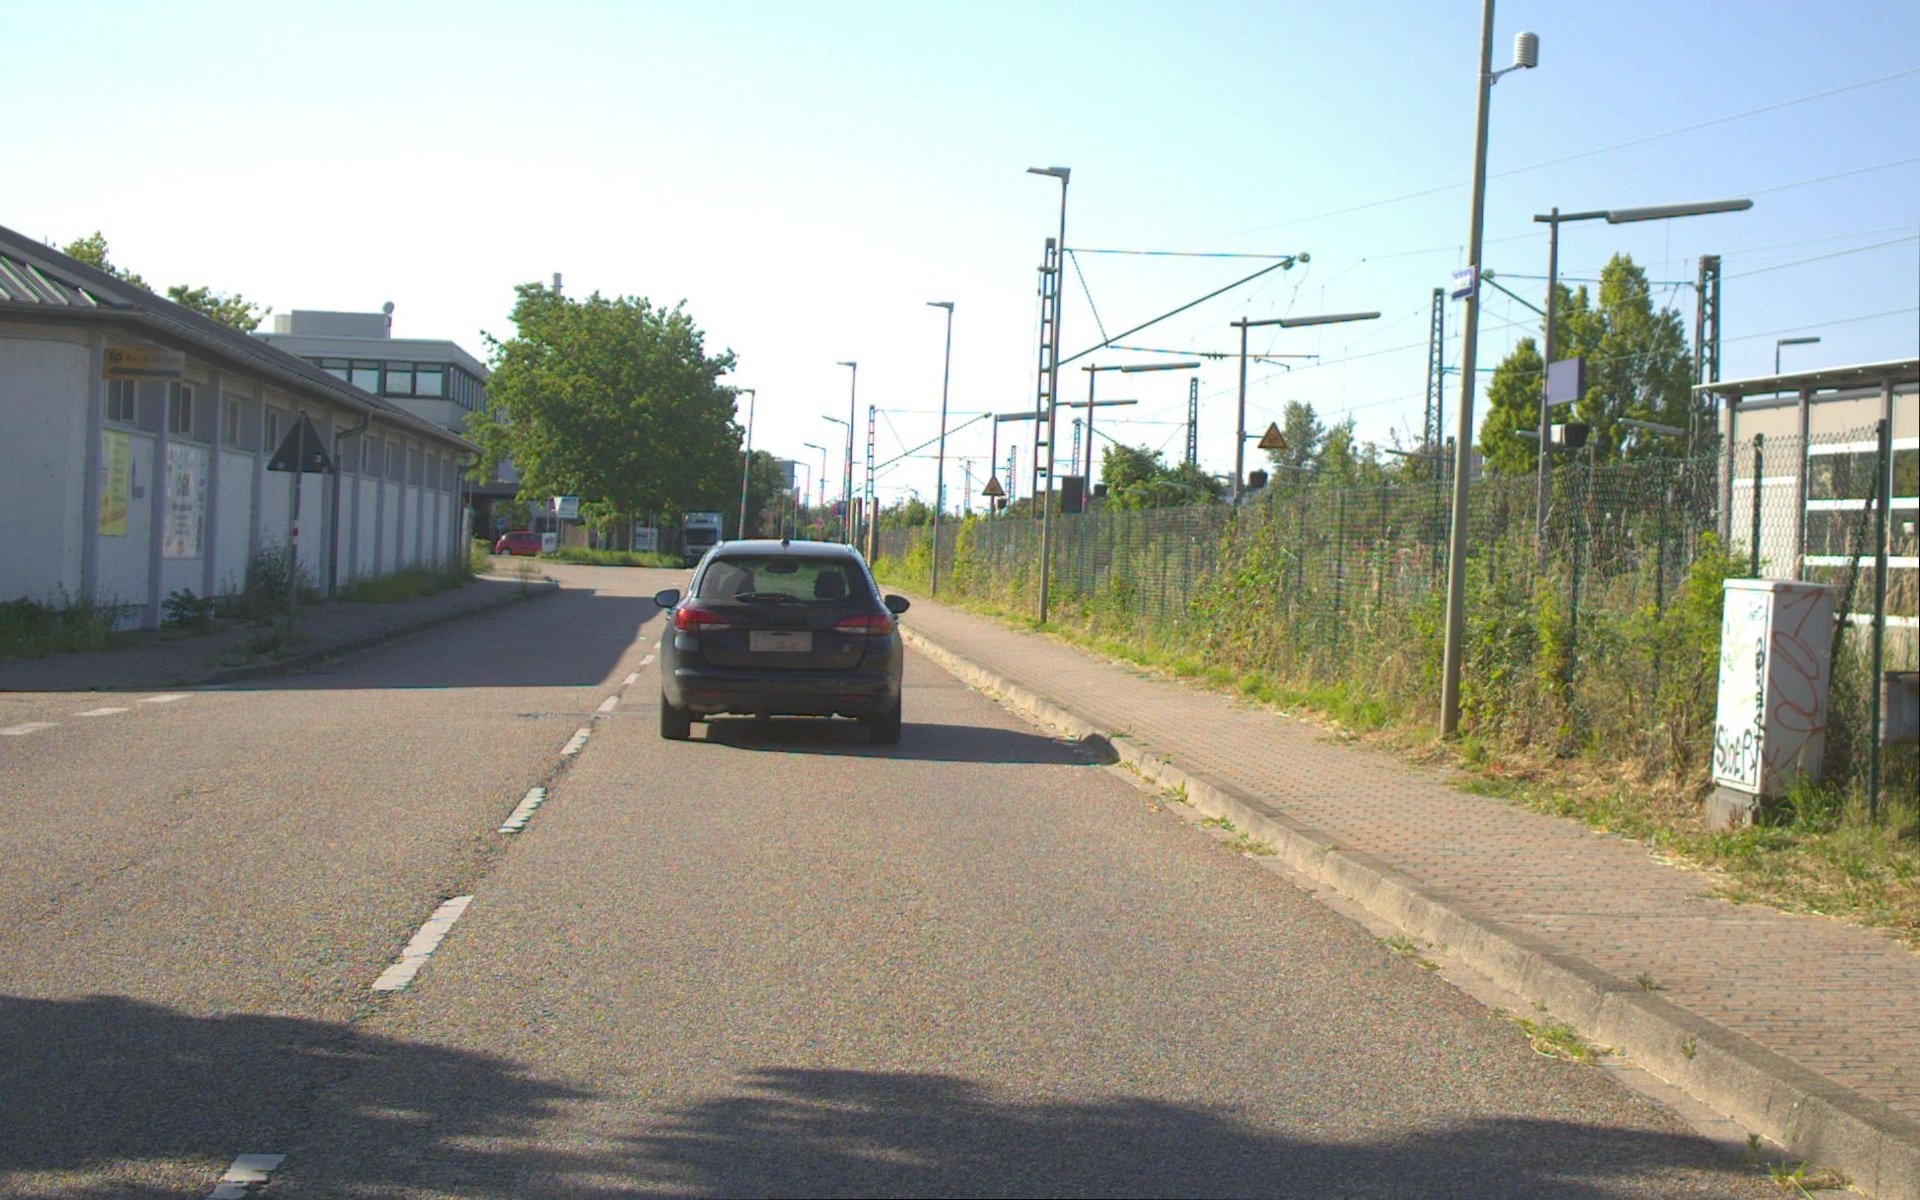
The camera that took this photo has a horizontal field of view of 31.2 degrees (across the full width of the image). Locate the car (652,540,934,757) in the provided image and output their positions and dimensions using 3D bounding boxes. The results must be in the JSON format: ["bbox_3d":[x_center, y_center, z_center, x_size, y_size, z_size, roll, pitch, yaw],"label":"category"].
[{"bbox_3d":[-1.322,0.310,26.313,1.942,1.483,4.566,1,1,-4],"label":"car"}]

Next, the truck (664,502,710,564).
[{"bbox_3d":[-18.179,-4.449,228.611,2.612,3.872,13.535,3,1,-6],"label":"truck"}]
